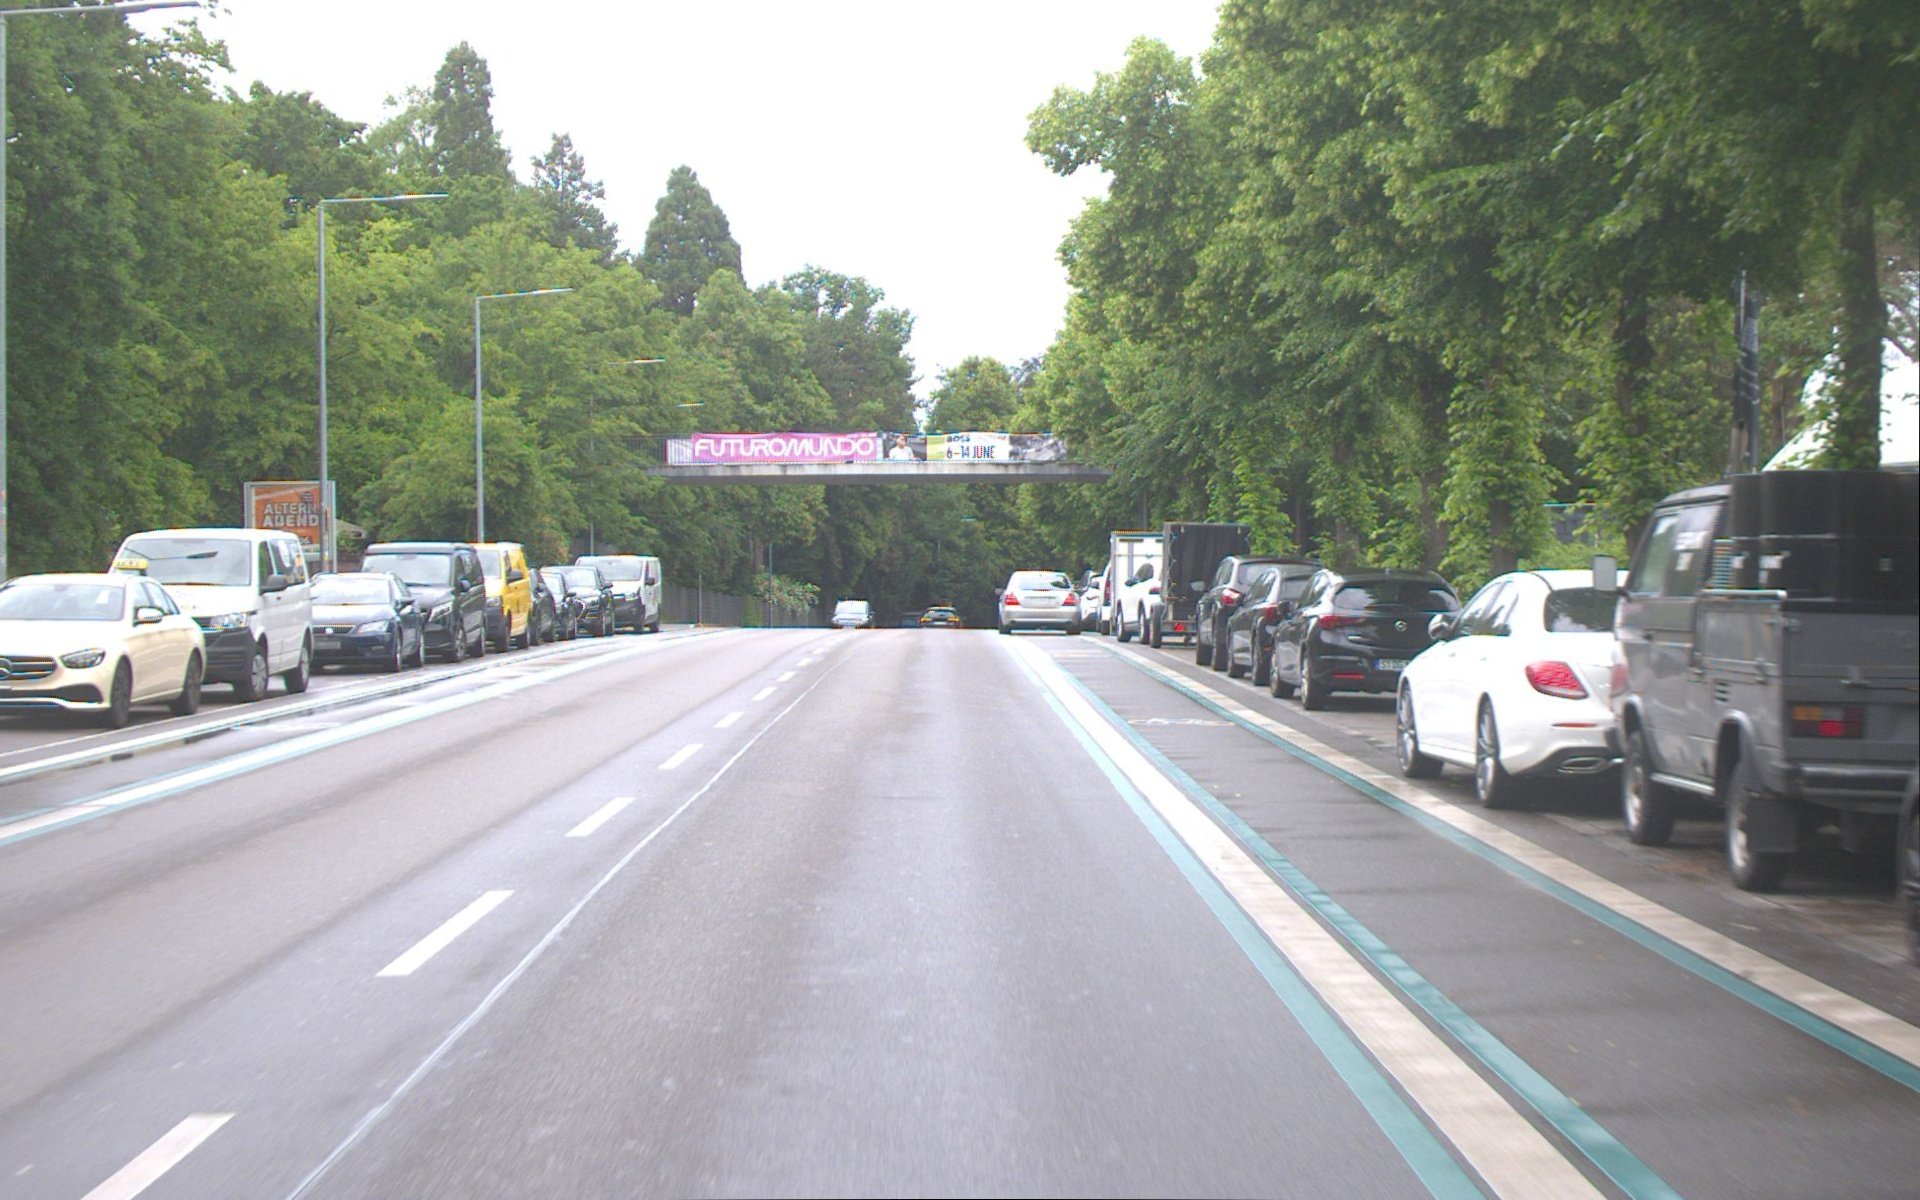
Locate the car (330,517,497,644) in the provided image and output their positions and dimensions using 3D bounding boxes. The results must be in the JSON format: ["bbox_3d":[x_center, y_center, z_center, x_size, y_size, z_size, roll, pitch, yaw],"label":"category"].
[{"bbox_3d":[-8.881,-0.373,56.279,1.990,1.939,5.142,0,2,-1],"label":"car"}]

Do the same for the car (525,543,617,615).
[{"bbox_3d":[-8.921,-0.506,79.044,1.870,1.536,4.055,0,2,-3],"label":"car"}]

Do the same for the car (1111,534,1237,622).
[{"bbox_3d":[3.983,-0.430,64.518,1.731,1.578,4.155,-1,1,-5],"label":"car"}]

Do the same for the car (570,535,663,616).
[{"bbox_3d":[-8.620,-0.638,86.485,1.757,1.925,4.193,0,2,2],"label":"car"}]

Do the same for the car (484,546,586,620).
[{"bbox_3d":[-9.014,-0.385,73.125,1.886,1.446,3.983,0,2,-3],"label":"car"}]

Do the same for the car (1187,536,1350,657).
[{"bbox_3d":[4.272,-0.082,48.205,1.731,1.578,4.155,1,1,-2],"label":"car"}]

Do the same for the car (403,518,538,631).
[{"bbox_3d":[-8.848,-0.505,62.538,1.882,1.938,4.827,0,2,-2],"label":"car"}]

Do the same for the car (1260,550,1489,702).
[{"bbox_3d":[4.303,0.228,36.283,1.731,1.458,4.278,1,1,-2],"label":"car"}]

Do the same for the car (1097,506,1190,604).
[{"bbox_3d":[4.091,-1.019,77.173,1.889,2.120,4.045,-1,1,1],"label":"car"}]

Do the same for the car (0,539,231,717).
[{"bbox_3d":[-8.807,0.221,34.133,1.990,1.600,4.985,-1,1,1],"label":"car"}]

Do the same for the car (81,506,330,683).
[{"bbox_3d":[-8.765,-0.128,40.356,1.913,1.924,4.928,0,2,-1],"label":"car"}]

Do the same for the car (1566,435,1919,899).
[{"bbox_3d":[4.424,0.241,17.252,1.926,2.015,4.664,0,1,0],"label":"car"}]

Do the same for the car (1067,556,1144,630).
[{"bbox_3d":[3.471,-0.190,82.473,1.731,1.678,4.045,-1,1,1],"label":"car"}]

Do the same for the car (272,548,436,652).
[{"bbox_3d":[-8.906,-0.030,50.821,1.731,1.385,4.371,0,2,-1],"label":"car"}]

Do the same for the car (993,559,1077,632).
[{"bbox_3d":[1.671,-0.124,77.650,1.731,1.578,4.037,-1,1,-1],"label":"car"}]

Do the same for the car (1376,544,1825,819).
[{"bbox_3d":[3.984,0.430,22.229,1.789,1.537,4.890,1,1,-2],"label":"car"}]

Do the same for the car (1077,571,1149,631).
[{"bbox_3d":[3.941,0.015,89.212,1.731,1.457,4.045,-1,1,1],"label":"car"}]

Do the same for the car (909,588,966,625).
[{"bbox_3d":[-0.985,0.268,145.341,2.140,1.487,4.499,0,1,-4],"label":"car"}]

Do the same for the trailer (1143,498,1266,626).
[{"bbox_3d":[4.259,-0.687,60.399,1.884,2.158,3.808,-1,1,0],"label":"trailer"}]

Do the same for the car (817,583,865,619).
[{"bbox_3d":[-4.921,0.053,141.951,1.869,1.468,4.055,0,0,-3],"label":"car"}]

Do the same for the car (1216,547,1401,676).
[{"bbox_3d":[4.280,0.107,42.731,1.731,1.458,4.073,1,1,-2],"label":"car"}]

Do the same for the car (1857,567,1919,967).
[{"bbox_3d":[4.323,0.656,11.530,1.606,1.448,3.747,1,1,0],"label":"car"}]
